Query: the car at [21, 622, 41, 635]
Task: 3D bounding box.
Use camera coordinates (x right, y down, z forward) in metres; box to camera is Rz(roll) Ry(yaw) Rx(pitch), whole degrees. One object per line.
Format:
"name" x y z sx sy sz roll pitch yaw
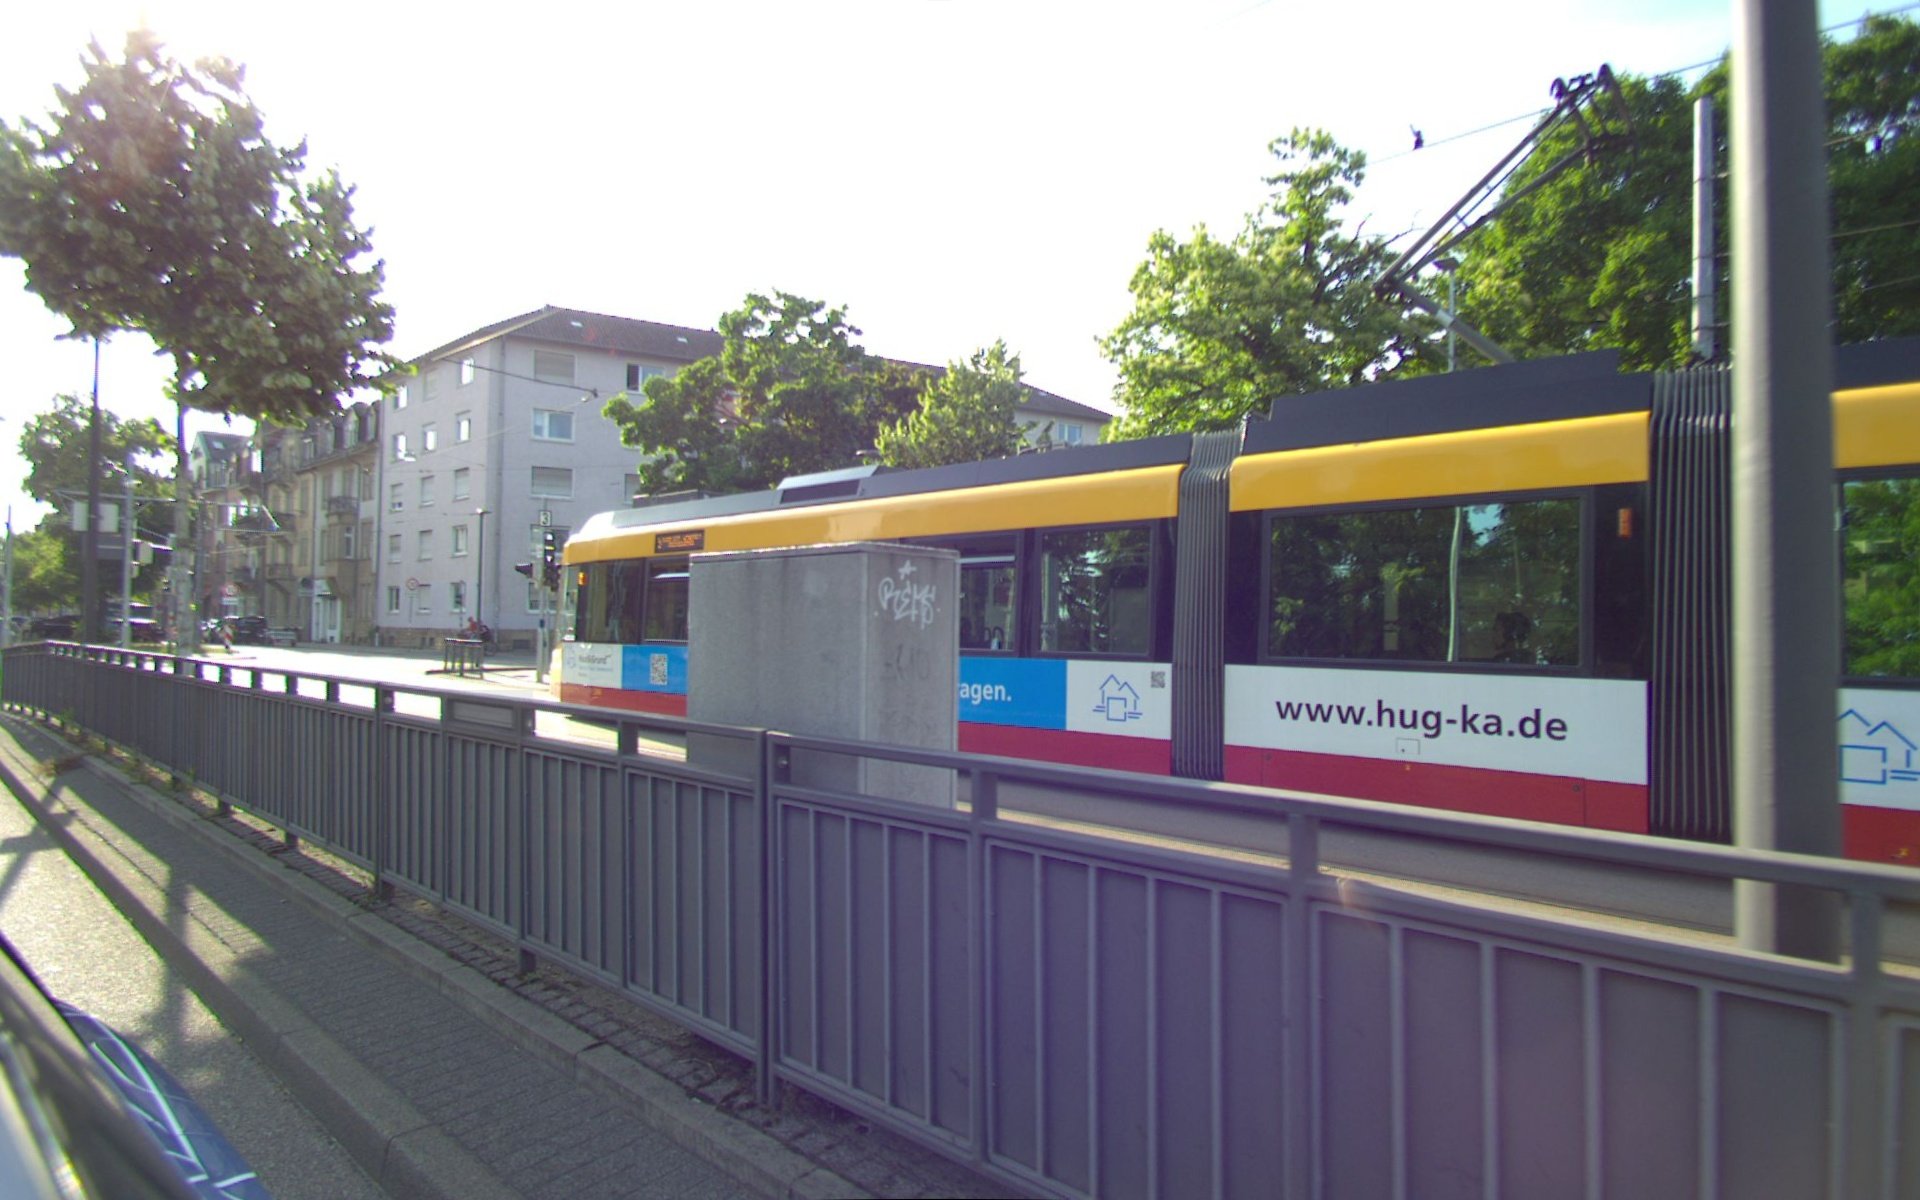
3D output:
"car" -150.602 4.578 164.097 3.999 2.029 1.972 -2 -2 42

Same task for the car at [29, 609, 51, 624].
"car" -134.754 2.429 148.173 3.999 2.029 1.972 -2 -2 42

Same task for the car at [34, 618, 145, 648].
"car" -52.755 2.019 61.400 4.645 1.703 2.175 1 -2 -6

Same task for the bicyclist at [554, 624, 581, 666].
"bicyclist" -13.795 1.568 35.526 0.717 1.424 0.643 -2 -2 45

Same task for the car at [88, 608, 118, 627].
"car" -94.344 1.910 111.387 4.000 2.029 1.972 -2 -2 43

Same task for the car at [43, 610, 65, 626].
"car" -117.968 2.370 131.767 1.970 2.029 4.003 1 -2 -44

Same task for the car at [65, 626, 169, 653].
"car" -44.591 2.082 53.604 3.888 1.370 1.677 1 -3 -12

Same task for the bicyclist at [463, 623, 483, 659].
"bicyclist" -22.502 1.877 46.731 0.760 1.655 0.797 2 -3 -27

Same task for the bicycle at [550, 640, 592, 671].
"bicycle" -13.651 1.940 35.466 0.535 1.026 2.252 1 -2 -44

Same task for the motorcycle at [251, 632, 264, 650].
"motorcycle" -43.327 2.514 62.435 0.627 1.088 1.738 1 -2 -35

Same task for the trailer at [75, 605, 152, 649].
"trailer" -46.839 1.498 56.053 2.817 2.410 1.728 0 -2 -16

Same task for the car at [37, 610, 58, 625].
"car" -125.855 2.436 139.582 1.970 2.029 4.003 1 -2 -44

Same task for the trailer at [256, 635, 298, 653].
"trailer" -41.226 2.628 61.074 2.879 0.903 1.425 -2 3 43

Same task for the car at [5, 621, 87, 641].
"car" -70.336 2.379 77.902 4.205 1.433 2.175 0 -1 -6

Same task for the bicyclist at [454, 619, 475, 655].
"bicyclist" -23.291 1.717 47.578 0.839 1.655 0.816 1 -2 -28

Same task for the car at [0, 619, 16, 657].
"car" -41.895 1.611 43.454 1.970 1.586 4.004 1 -2 -43

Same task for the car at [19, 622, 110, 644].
"car" -60.187 2.228 68.086 4.239 1.433 1.962 0 -2 -6

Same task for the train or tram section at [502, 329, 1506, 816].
"train or tram section" -1.260 -0.042 13.326 14.528 3.506 3.128 -2 -2 42

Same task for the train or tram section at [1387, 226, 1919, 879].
"train or tram section" 9.502 -0.323 3.618 14.467 3.506 3.128 -2 -2 42

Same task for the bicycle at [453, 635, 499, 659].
"bicycle" -22.391 2.178 46.825 1.883 1.119 0.737 2 -3 -27

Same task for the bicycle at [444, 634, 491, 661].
"bicycle" -23.198 2.219 47.655 1.946 1.212 0.737 1 -2 -27

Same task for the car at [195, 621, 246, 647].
"car" -51.033 2.315 69.828 4.612 1.763 2.140 -2 -2 45

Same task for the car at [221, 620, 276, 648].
"car" -46.047 2.188 65.467 4.720 1.763 2.140 -2 -2 45
